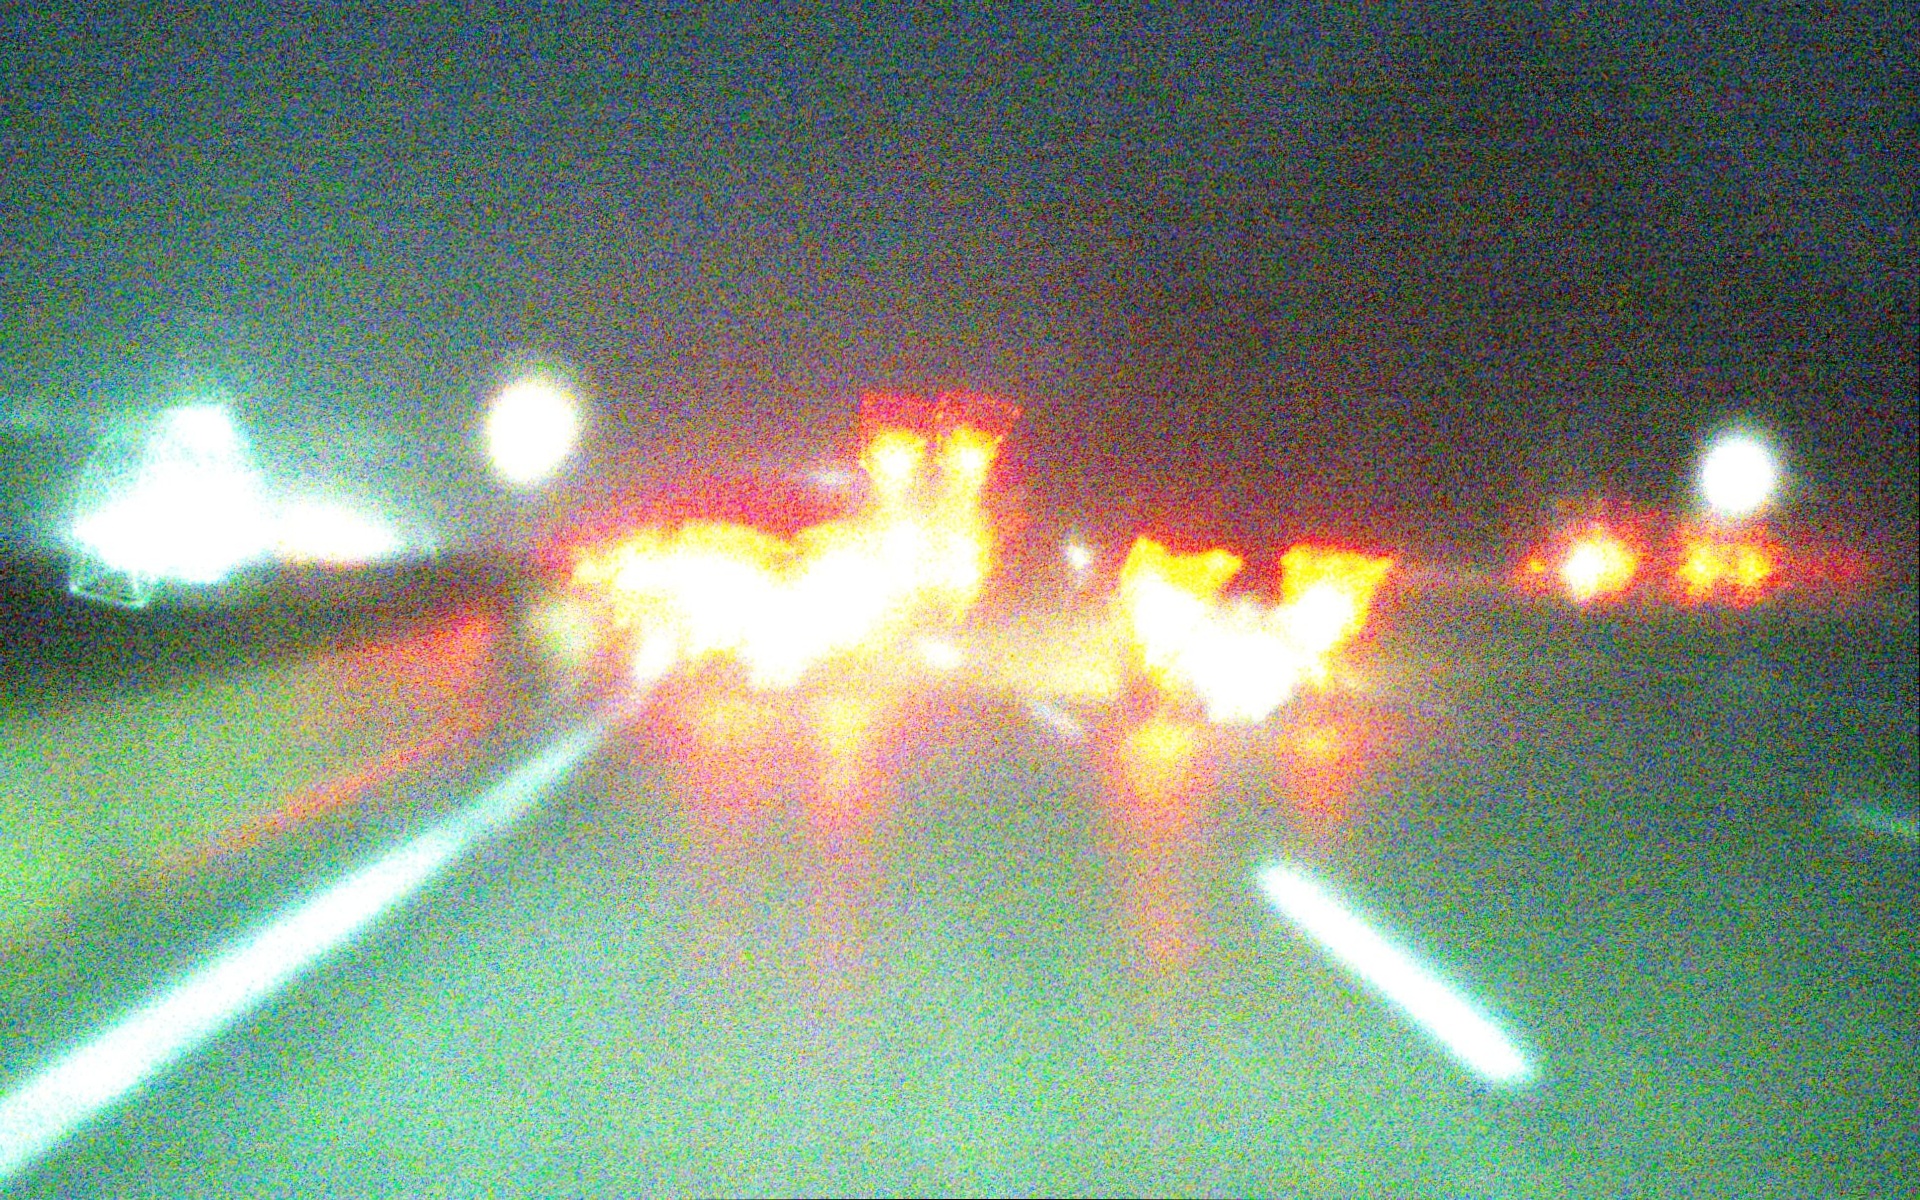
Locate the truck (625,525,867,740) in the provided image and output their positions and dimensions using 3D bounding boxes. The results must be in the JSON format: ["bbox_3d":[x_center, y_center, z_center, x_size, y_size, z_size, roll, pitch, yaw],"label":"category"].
[{"bbox_3d":[-2.274,0.259,38.444,2.145,2.070,6.604,3,1,0],"label":"truck"}]

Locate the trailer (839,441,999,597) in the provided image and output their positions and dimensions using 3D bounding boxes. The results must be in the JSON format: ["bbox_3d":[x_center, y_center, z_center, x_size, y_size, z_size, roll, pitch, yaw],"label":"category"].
[{"bbox_3d":[-1.419,-2.690,107.705,2.738,4.232,13.377,-4,4,-9],"label":"trailer"}]

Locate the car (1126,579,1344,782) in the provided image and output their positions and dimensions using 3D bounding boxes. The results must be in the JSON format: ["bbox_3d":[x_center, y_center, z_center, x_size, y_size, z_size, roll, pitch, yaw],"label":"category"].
[{"bbox_3d":[2.410,0.661,30.924,1.801,1.612,4.256,-1,1,3],"label":"car"}]

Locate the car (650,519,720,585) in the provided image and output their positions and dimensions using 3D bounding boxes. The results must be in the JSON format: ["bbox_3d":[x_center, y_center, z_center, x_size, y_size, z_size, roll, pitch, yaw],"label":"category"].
[{"bbox_3d":[-8.639,-1.523,107.750,1.993,2.007,4.001,1,1,-7],"label":"car"}]
